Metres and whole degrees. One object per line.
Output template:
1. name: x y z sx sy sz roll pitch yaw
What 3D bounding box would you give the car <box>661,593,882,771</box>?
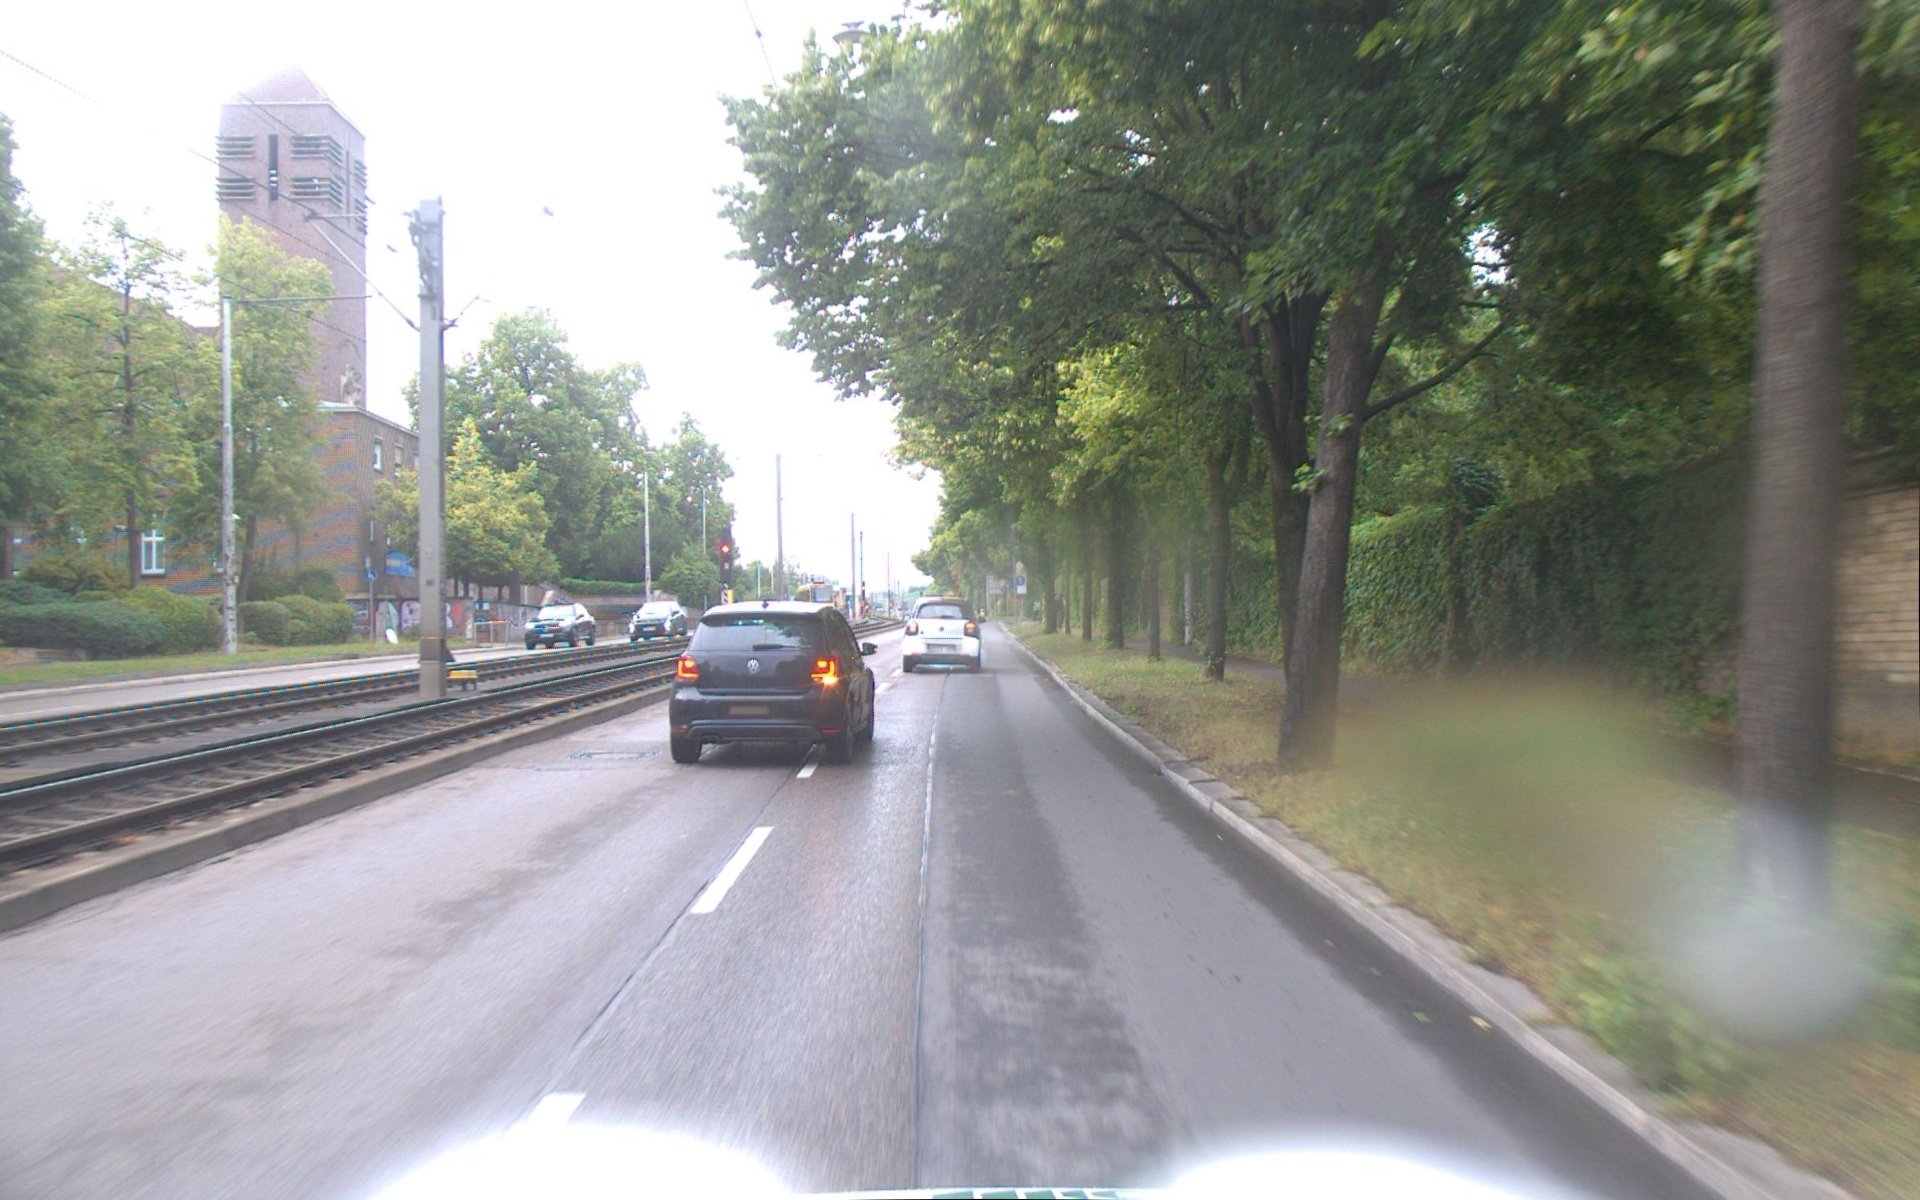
1. car: -1.719 0.699 16.267 1.757 1.511 3.964 1 0 -1

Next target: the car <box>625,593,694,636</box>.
1. car: -12.133 0.565 67.039 1.796 1.685 4.241 -1 0 3

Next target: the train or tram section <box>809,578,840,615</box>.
1. train or tram section: -13.831 -0.376 168.963 2.775 3.668 9.265 0 0 -3

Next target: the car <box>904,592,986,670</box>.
1. car: -0.281 0.624 35.661 1.641 1.557 3.722 1 0 1

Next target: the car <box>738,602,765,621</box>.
1. car: -16.065 0.883 127.708 1.583 1.459 4.000 0 0 0

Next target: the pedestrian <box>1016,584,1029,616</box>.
1. pedestrian: 5.935 -0.006 156.394 1.140 3.029 0.948 0 0 0

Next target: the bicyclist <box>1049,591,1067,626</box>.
1. bicyclist: 4.622 0.387 77.896 0.747 1.644 0.998 -1 0 0

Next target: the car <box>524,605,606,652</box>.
1. car: -15.028 1.069 63.219 1.971 1.685 4.617 -1 0 1

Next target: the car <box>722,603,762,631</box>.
1. car: -12.045 0.935 91.414 1.646 1.487 3.609 -1 0 1

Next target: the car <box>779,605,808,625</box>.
1. car: -14.345 1.305 142.787 1.953 1.691 5.126 0 0 0
